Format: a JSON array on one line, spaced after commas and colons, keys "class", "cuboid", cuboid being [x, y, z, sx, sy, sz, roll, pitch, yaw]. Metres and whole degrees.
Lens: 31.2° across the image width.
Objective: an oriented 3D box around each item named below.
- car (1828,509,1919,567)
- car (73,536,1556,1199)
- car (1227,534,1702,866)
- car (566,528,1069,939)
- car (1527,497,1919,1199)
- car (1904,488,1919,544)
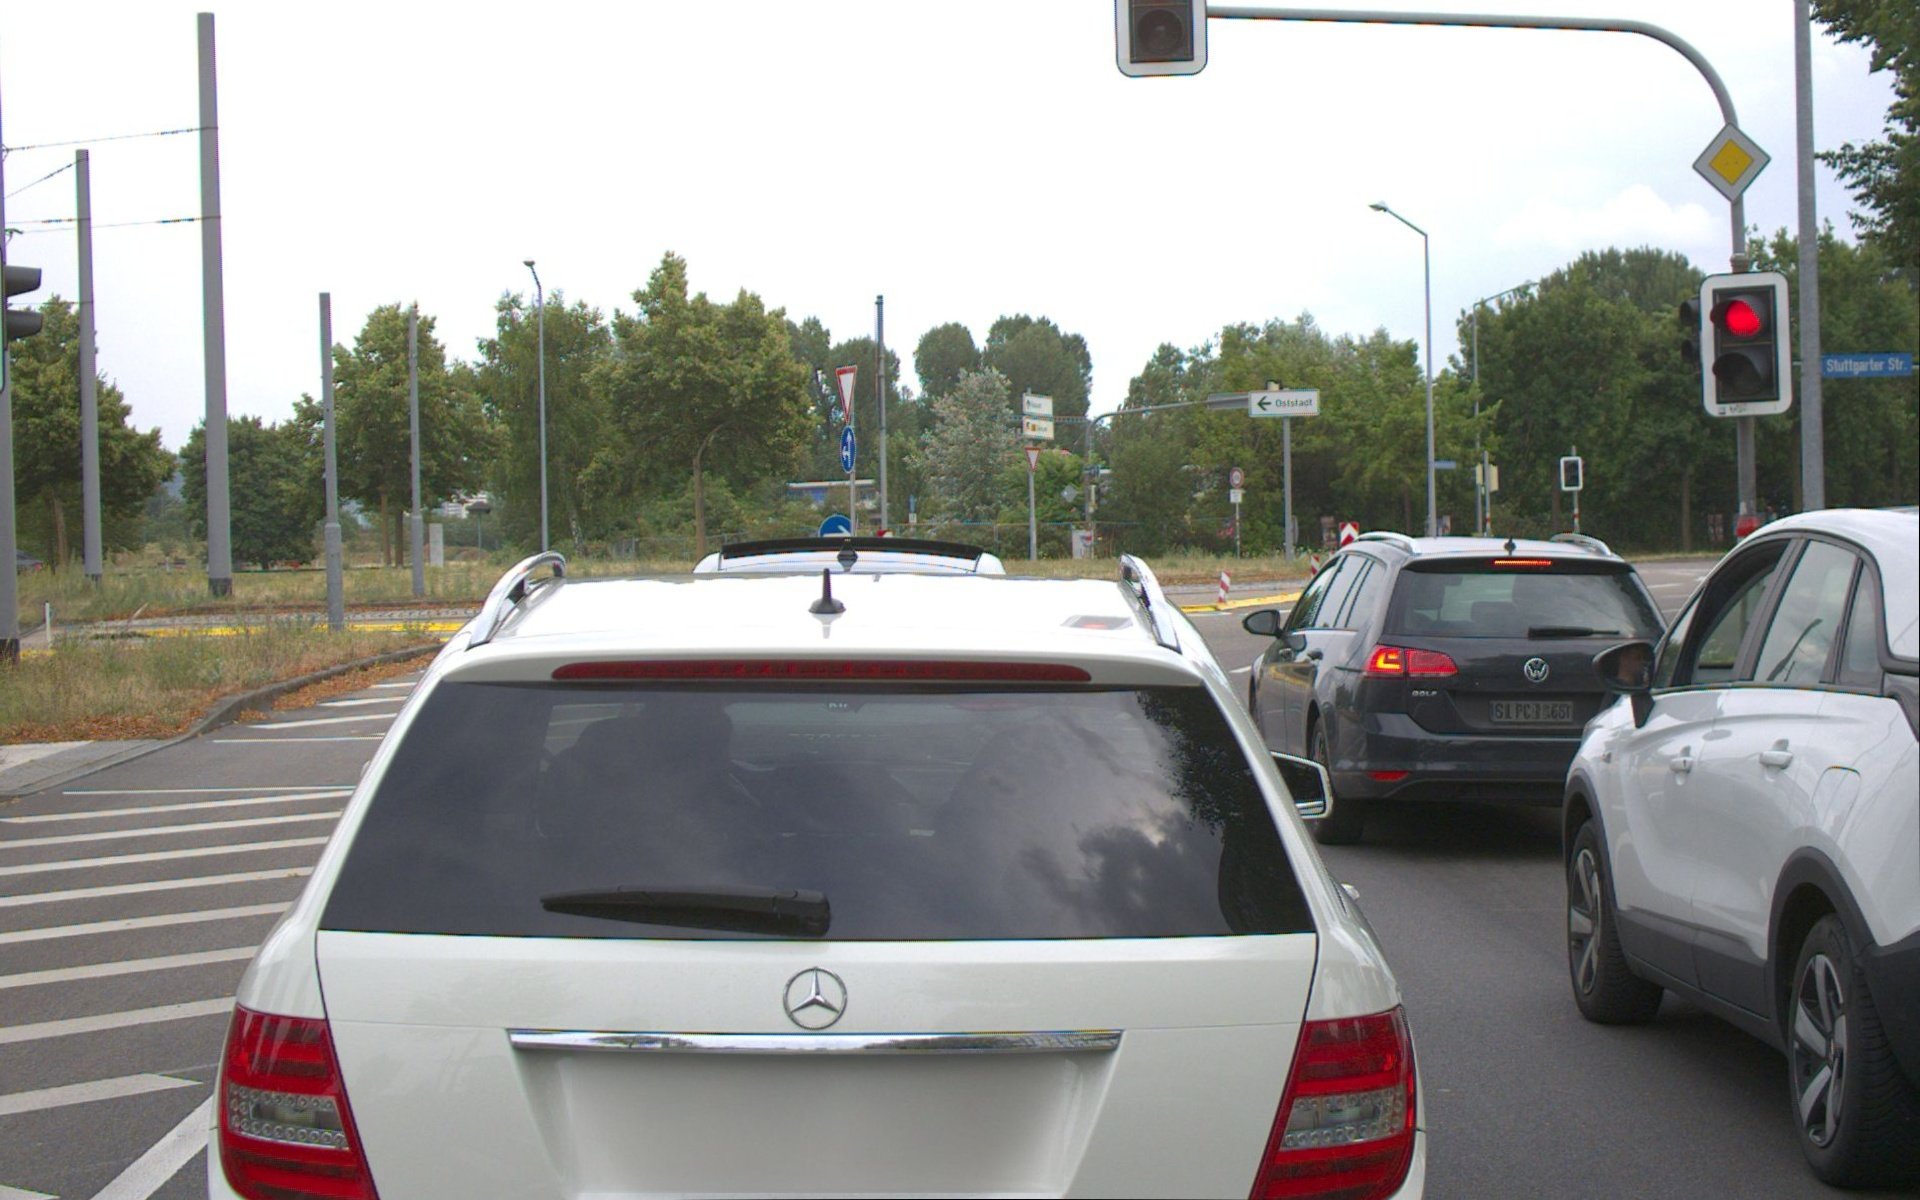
[{"class": "car", "cuboid": [29.278, -1.971, 110.119, 1.996, 1.784, 3.994, 2, 1, 27]}, {"class": "car", "cuboid": [-0.256, 0.623, 6.084, 1.773, 1.443, 3.911, 0, 1, -2]}, {"class": "car", "cuboid": [2.383, 0.408, 17.149, 1.624, 1.443, 3.911, 0, 1, -2]}, {"class": "car", "cuboid": [-0.589, 0.437, 14.156, 1.773, 1.443, 3.911, 0, 1, -2]}, {"class": "car", "cuboid": [2.748, 0.537, 9.115, 1.787, 1.619, 3.911, -1, 1, 0]}, {"class": "car", "cuboid": [29.209, -2.499, 101.661, 1.785, 1.630, 4.396, 0, 1, 25]}]
